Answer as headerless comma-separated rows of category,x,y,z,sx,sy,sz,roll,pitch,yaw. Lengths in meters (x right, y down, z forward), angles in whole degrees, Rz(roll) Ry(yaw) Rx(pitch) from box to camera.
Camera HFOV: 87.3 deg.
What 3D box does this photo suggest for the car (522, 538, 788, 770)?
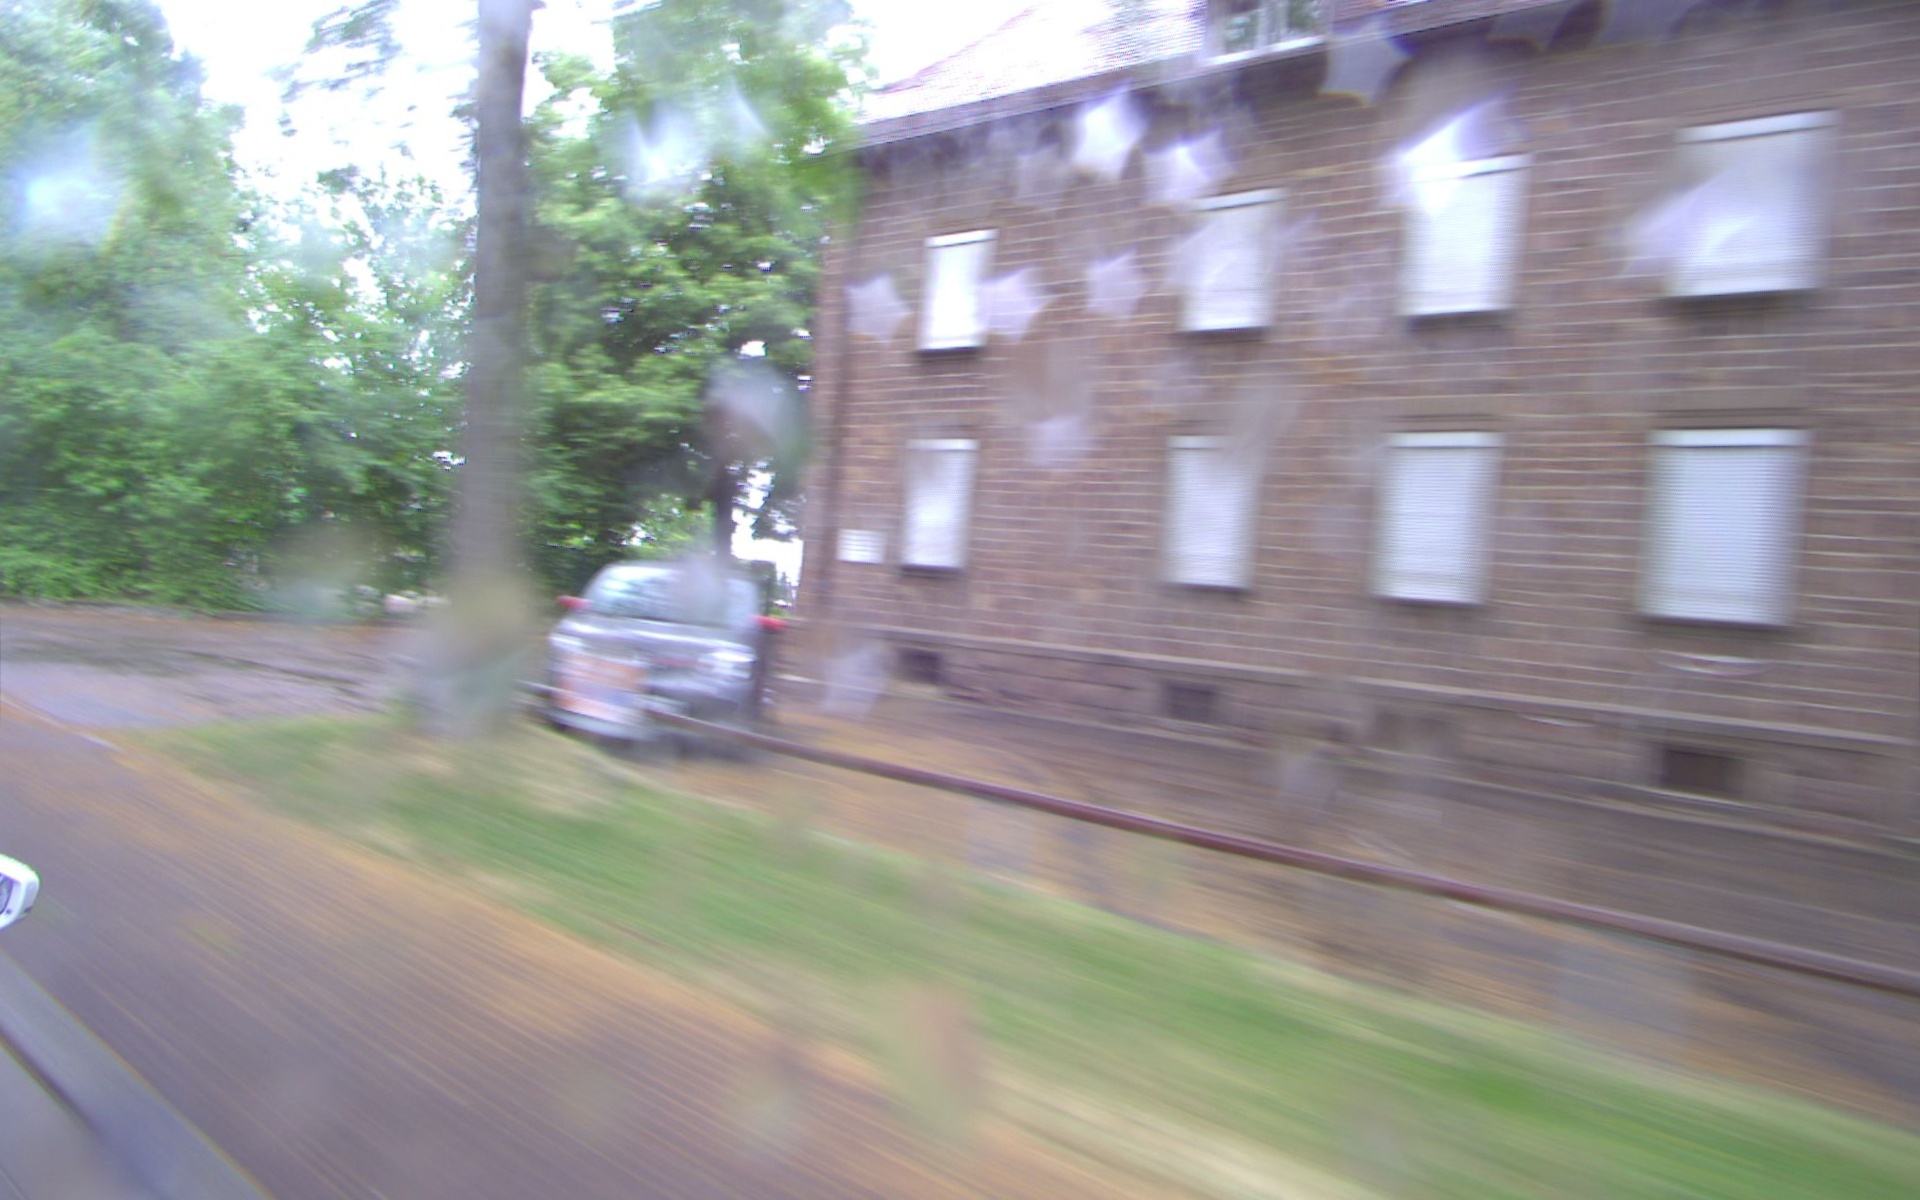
car,-2.555,0.425,9.256,1.593,1.570,3.610,6,-1,-7
